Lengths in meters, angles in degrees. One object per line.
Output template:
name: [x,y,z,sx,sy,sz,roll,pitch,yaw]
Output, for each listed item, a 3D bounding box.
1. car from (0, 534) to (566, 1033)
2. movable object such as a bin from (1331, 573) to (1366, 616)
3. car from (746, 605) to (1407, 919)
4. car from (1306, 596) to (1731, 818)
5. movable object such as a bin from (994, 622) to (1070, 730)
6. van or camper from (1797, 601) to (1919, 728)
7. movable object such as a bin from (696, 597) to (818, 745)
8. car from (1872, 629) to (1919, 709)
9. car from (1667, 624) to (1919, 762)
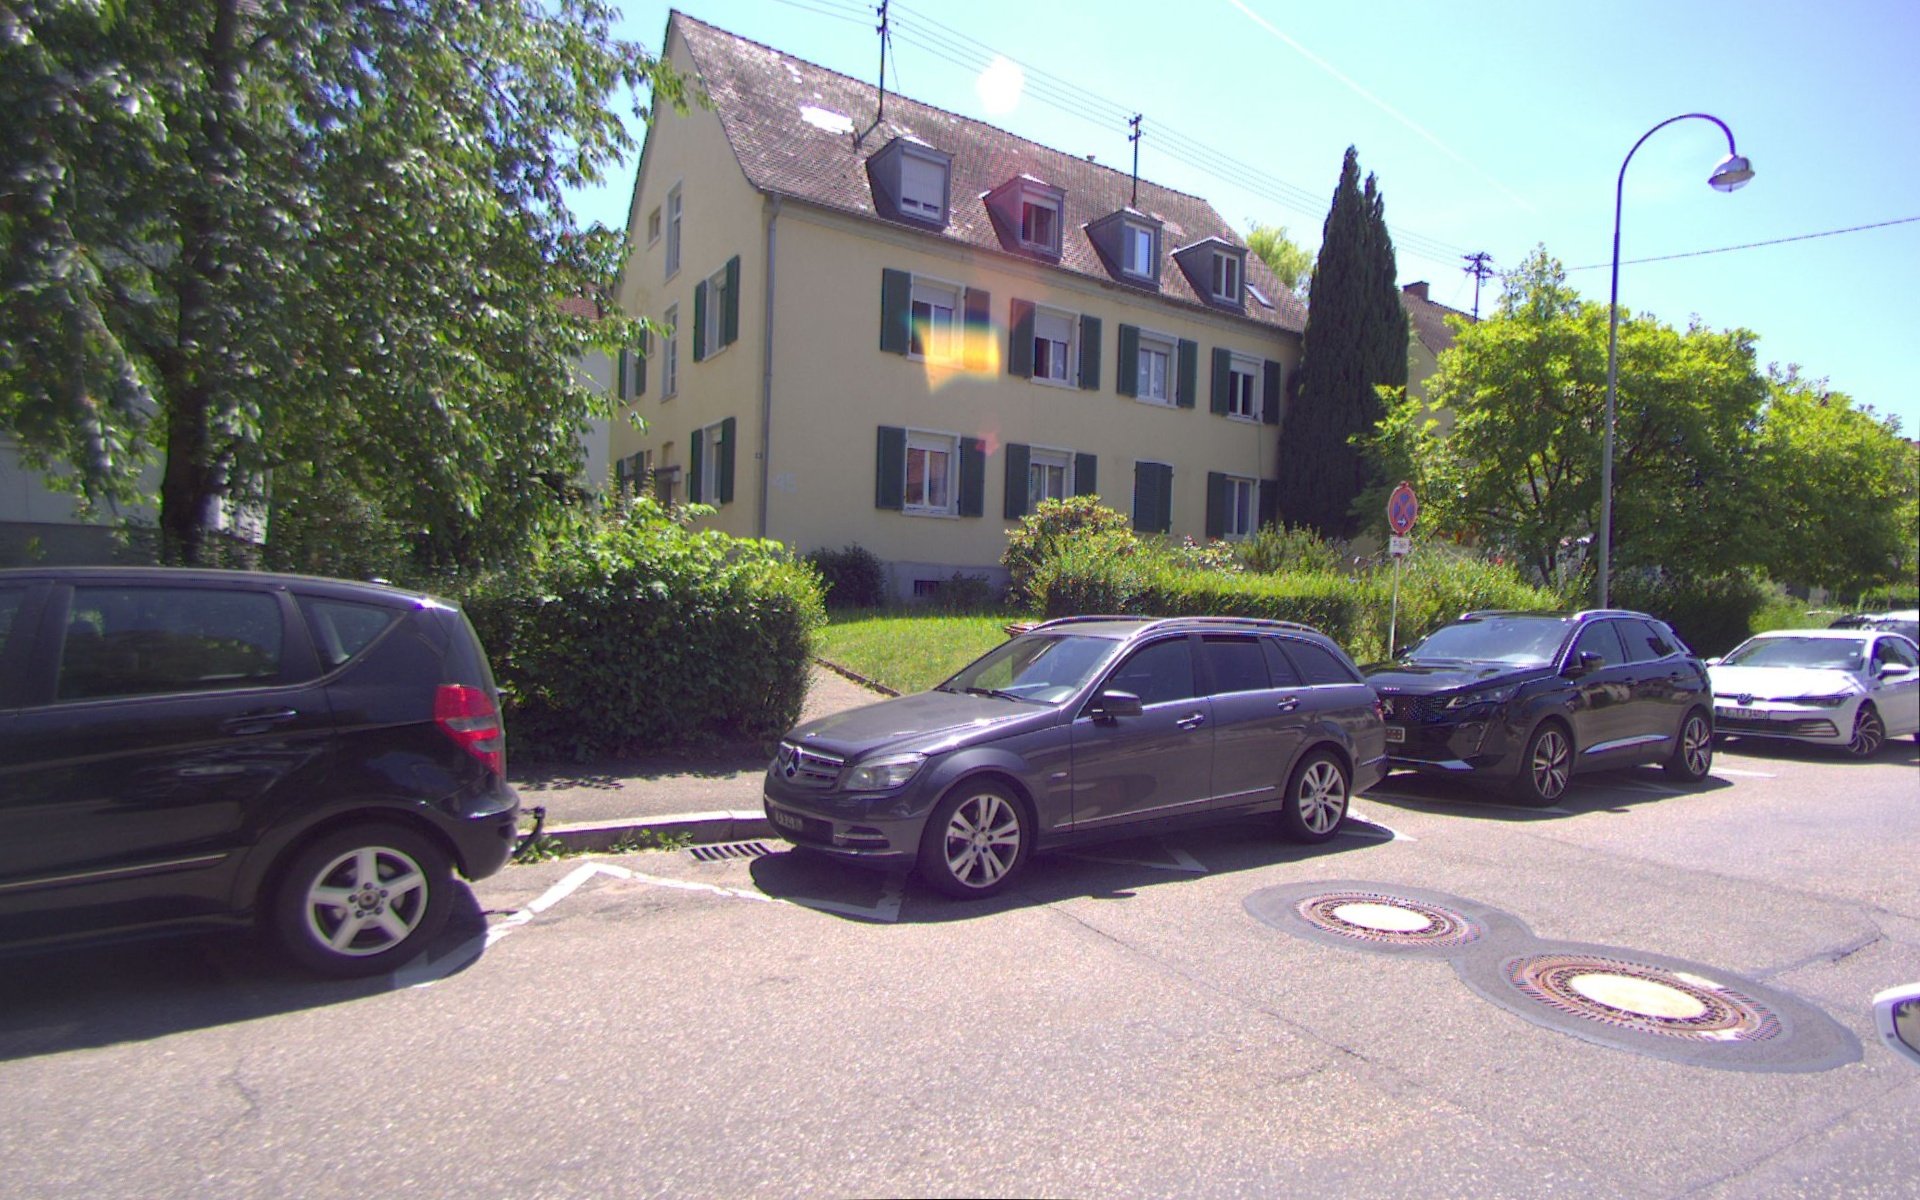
car: [-3.695,0.617,4.020,3.745,1.661,1.673,1,-1,-30]
movable object such as a bin: [10.995,-0.153,28.413,0.667,1.212,0.617,1,1,-34]
car: [0.924,0.818,6.661,4.283,1.495,1.671,1,-1,-33]
car: [5.328,0.848,9.410,4.283,1.659,1.671,1,-1,-33]
movable object such as a bin: [0.800,0.824,11.201,0.588,1.136,0.617,1,1,-28]
van or camper: [15.147,0.967,16.109,3.945,1.828,1.670,1,-1,-35]
movable object such as a bin: [-1.984,0.659,9.794,0.953,1.349,0.749,1,0,-32]
car: [18.799,1.272,18.919,3.889,1.431,1.669,1,-1,-36]
car: [10.841,1.061,12.694,4.201,1.460,1.671,1,-1,-33]
